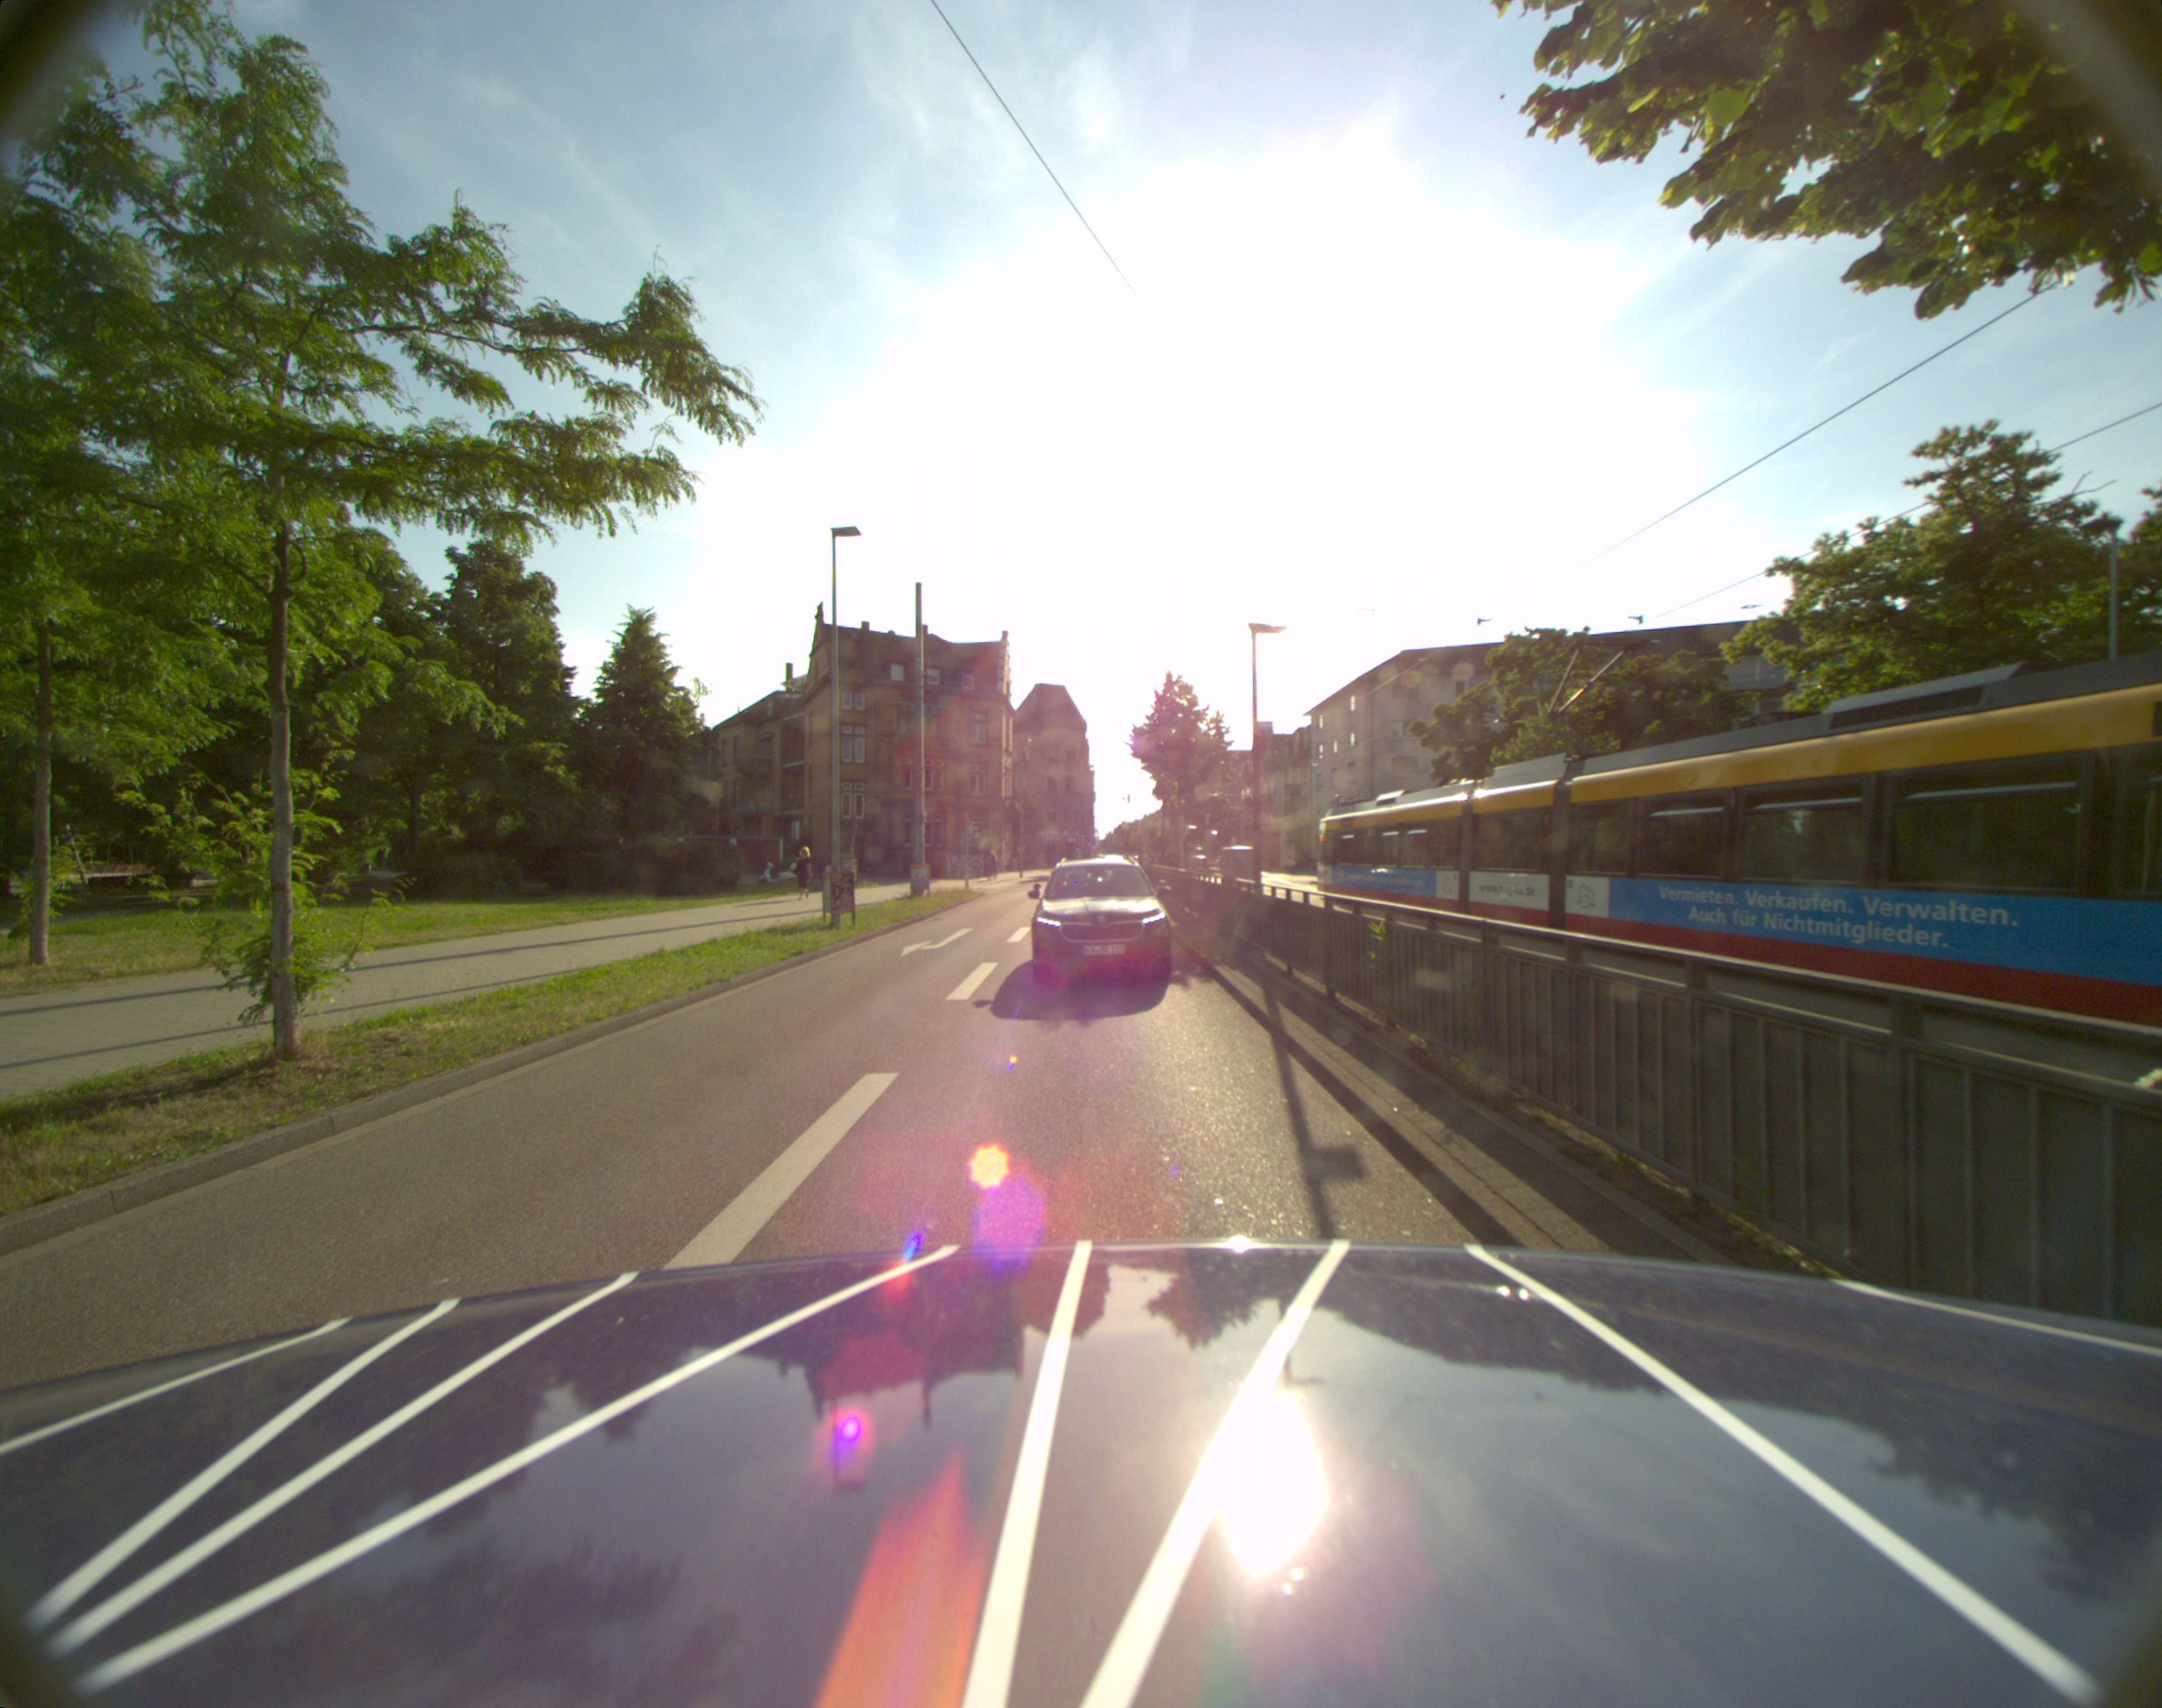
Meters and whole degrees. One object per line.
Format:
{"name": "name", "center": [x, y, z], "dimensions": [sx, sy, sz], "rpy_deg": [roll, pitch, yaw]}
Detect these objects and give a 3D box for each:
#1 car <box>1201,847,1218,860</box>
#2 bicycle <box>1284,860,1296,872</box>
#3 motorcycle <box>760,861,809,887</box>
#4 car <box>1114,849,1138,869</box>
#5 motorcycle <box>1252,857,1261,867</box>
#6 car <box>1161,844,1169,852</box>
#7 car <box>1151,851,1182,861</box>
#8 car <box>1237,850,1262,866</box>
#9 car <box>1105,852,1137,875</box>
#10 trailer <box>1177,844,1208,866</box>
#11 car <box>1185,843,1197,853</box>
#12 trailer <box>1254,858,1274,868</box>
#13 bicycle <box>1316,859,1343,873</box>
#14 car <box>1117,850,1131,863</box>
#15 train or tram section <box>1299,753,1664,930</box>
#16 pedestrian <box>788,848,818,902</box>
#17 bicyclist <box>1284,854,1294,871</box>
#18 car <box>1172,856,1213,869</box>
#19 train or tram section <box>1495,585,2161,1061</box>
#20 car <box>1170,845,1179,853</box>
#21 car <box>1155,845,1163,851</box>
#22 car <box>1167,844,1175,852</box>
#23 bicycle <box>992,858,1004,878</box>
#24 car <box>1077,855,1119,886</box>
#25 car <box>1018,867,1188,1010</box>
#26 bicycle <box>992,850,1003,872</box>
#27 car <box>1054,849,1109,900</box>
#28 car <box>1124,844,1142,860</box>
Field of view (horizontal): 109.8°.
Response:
{"name": "car", "center": [20.458, -0.073, 121.343], "dimensions": [2.170, 1.890, 4.611], "rpy_deg": [-1, 0, 3]}
{"name": "bicycle", "center": [17.644, 1.003, 64.145], "dimensions": [0.543, 1.012, 2.251], "rpy_deg": [-1, 0, 4]}
{"name": "motorcycle", "center": [-13.747, 0.930, 35.268], "dimensions": [2.002, 1.153, 0.708], "rpy_deg": [-1, 0, -4]}
{"name": "car", "center": [4.046, 0.405, 69.382], "dimensions": [1.998, 1.772, 4.000], "rpy_deg": [0, 0, 0]}
{"name": "motorcycle", "center": [19.465, 0.834, 84.305], "dimensions": [0.637, 1.074, 1.734], "rpy_deg": [-1, 0, 4]}
{"name": "car", "center": [23.165, -1.644, 209.595], "dimensions": [1.998, 2.002, 4.000], "rpy_deg": [-1, 0, 1]}
{"name": "car", "center": [12.921, 0.345, 114.970], "dimensions": [4.259, 1.414, 2.176], "rpy_deg": [-1, 0, 43]}
{"name": "car", "center": [19.529, 0.430, 88.291], "dimensions": [2.170, 1.739, 4.719], "rpy_deg": [-1, 0, 3]}
{"name": "car", "center": [2.833, 0.637, 53.278], "dimensions": [1.997, 1.565, 4.002], "rpy_deg": [-1, 0, 6]}
{"name": "trailer", "center": [12.124, 0.133, 82.743], "dimensions": [2.858, 2.378, 1.726], "rpy_deg": [-1, 0, 33]}
{"name": "car", "center": [22.397, -1.137, 154.845], "dimensions": [1.998, 2.002, 4.000], "rpy_deg": [-1, 0, 2]}
{"name": "trailer", "center": [19.655, 0.947, 81.701], "dimensions": [1.444, 0.891, 2.880], "rpy_deg": [-5, 0, 2]}
{"name": "bicycle", "center": [19.294, 0.909, 59.029], "dimensions": [1.912, 1.104, 0.736], "rpy_deg": [0, 1, 22]}
{"name": "car", "center": [6.676, 0.363, 118.296], "dimensions": [1.998, 2.002, 4.000], "rpy_deg": [0, 0, 1]}
{"name": "train or tram section", "center": [10.002, -0.237, 22.275], "dimensions": [3.169, 3.459, 14.532], "rpy_deg": [-1, 0, 1]}
{"name": "pedestrian", "center": [-8.939, 0.668, 24.480], "dimensions": [0.616, 1.682, 0.549], "rpy_deg": [5, 1, 5]}
{"name": "bicyclist", "center": [17.618, 0.717, 64.418], "dimensions": [0.652, 1.405, 0.717], "rpy_deg": [-1, 0, 4]}
{"name": "car", "center": [11.679, 0.894, 79.628], "dimensions": [3.941, 1.352, 1.676], "rpy_deg": [1, 1, 35]}
{"name": "train or tram section", "center": [9.536, -0.242, 7.806], "dimensions": [3.169, 3.459, 14.474], "rpy_deg": [-1, 0, 2]}
{"name": "car", "center": [22.886, -1.161, 185.984], "dimensions": [1.998, 2.002, 4.001], "rpy_deg": [-1, 0, 5]}
{"name": "car", "center": [23.691, -1.808, 230.848], "dimensions": [1.998, 2.002, 4.000], "rpy_deg": [-1, 0, 1]}
{"name": "car", "center": [23.413, -1.573, 197.217], "dimensions": [1.998, 2.002, 4.001], "rpy_deg": [-1, 0, 5]}
{"name": "bicycle", "center": [-4.939, 0.832, 45.046], "dimensions": [0.484, 1.183, 1.339], "rpy_deg": [-1, 0, 3]}
{"name": "car", "center": [0.989, 0.849, 41.559], "dimensions": [1.997, 1.565, 4.002], "rpy_deg": [-1, 0, 6]}
{"name": "car", "center": [0.344, 0.941, 10.195], "dimensions": [1.839, 1.472, 4.001], "rpy_deg": [0, 0, 3]}
{"name": "bicycle", "center": [-4.944, 0.426, 45.016], "dimensions": [0.574, 1.290, 0.688], "rpy_deg": [-1, 0, 2]}
{"name": "car", "center": [0.058, 0.760, 30.049], "dimensions": [1.998, 1.827, 4.000], "rpy_deg": [-1, 0, 1]}
{"name": "car", "center": [6.378, -0.239, 93.707], "dimensions": [1.998, 2.002, 4.000], "rpy_deg": [0, 0, 1]}
